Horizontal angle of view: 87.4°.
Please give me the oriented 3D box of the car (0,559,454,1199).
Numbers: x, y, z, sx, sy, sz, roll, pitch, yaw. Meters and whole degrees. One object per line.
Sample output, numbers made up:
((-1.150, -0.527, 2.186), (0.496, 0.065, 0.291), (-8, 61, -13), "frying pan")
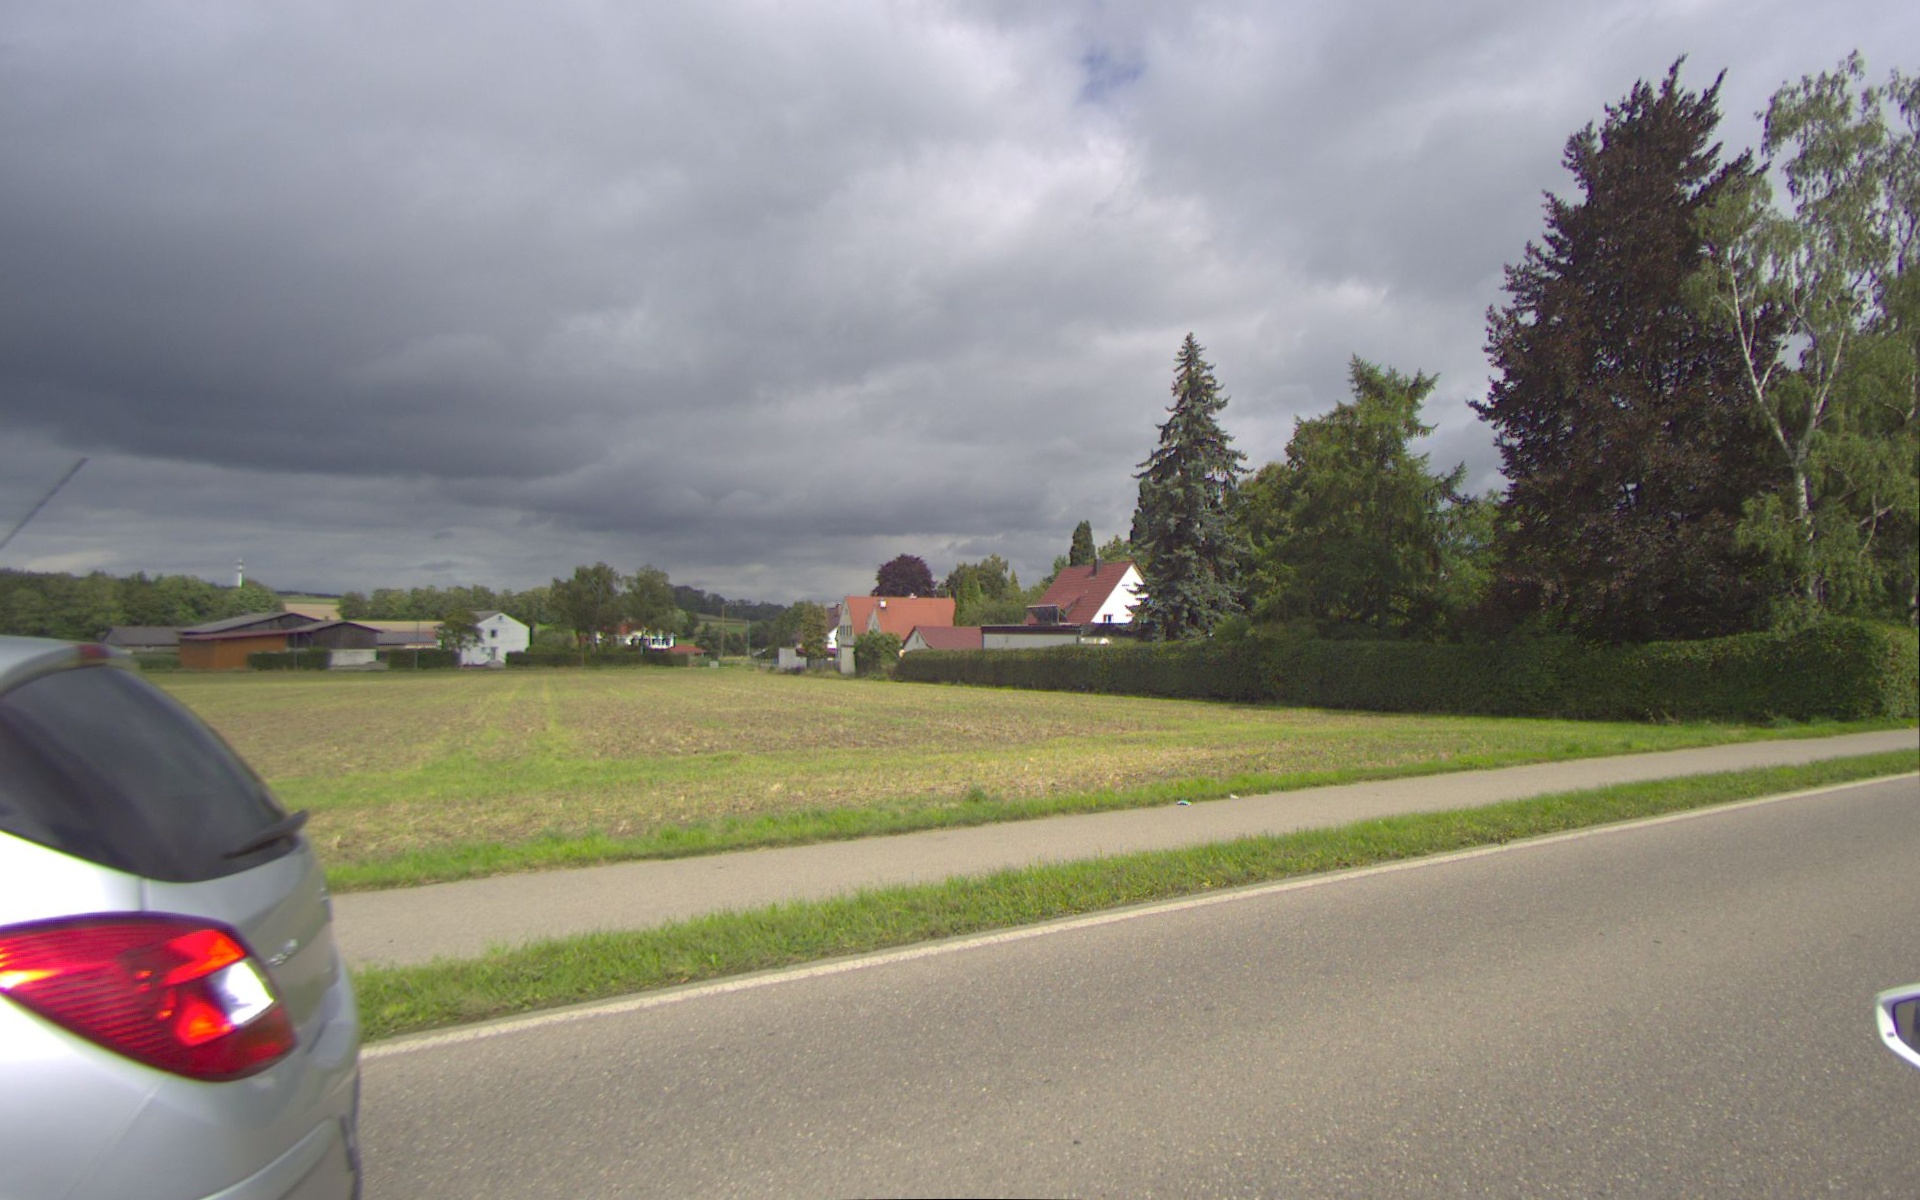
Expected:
((-2.671, 0.683, 1.307), (3.501, 1.478, 1.687), (2, -2, -30), "car")
